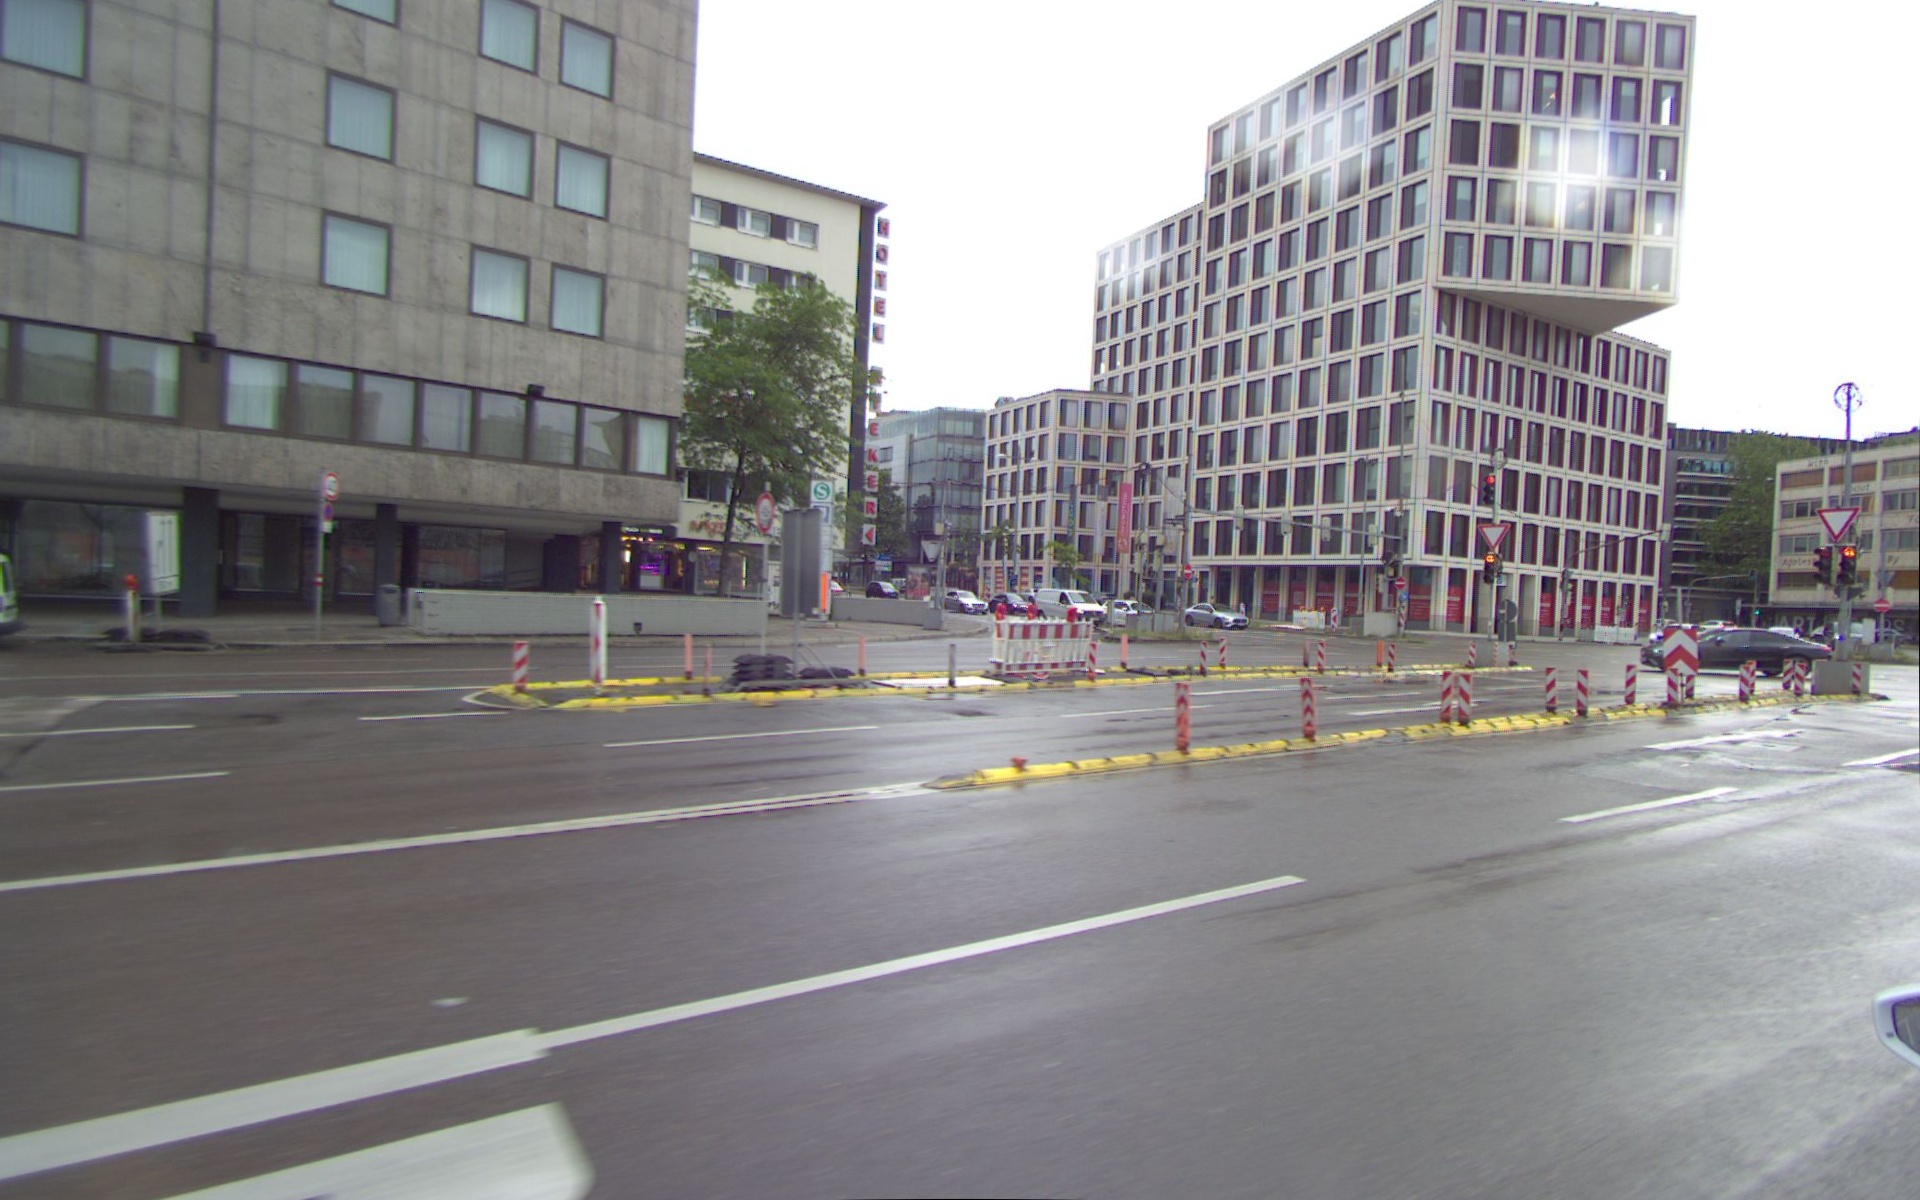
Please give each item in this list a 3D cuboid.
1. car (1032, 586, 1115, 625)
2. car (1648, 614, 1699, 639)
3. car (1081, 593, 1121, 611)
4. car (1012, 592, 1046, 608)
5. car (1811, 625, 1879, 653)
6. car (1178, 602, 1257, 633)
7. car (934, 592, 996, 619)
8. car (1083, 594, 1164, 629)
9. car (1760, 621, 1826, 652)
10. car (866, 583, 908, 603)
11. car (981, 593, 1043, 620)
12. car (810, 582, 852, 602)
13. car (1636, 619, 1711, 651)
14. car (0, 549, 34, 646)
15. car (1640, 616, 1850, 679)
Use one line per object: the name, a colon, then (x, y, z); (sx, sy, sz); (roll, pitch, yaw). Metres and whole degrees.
car: (6.020, 0.270, 53.982); (2.060, 1.930, 5.052); (2, 1, -25)
car: (59.110, 2.193, 83.282); (1.769, 1.840, 4.002); (2, 1, 7)
car: (13.083, 0.204, 93.597); (1.841, 1.543, 3.977); (2, 0, -23)
car: (7.114, -0.033, 104.216); (1.842, 1.543, 3.975); (2, 0, -25)
car: (75.084, 3.289, 85.285); (1.962, 2.040, 3.997); (3, 2, -4)
car: (14.771, 0.990, 57.922); (1.990, 1.620, 4.636); (2, 1, -23)
car: (0.252, 0.345, 65.960); (1.995, 1.620, 4.625); (2, 1, -30)
car: (8.983, 0.588, 55.434); (1.993, 1.761, 4.629); (2, 1, -28)
car: (52.585, 2.305, 63.400); (3.949, 1.840, 1.793); (1, 1, -28)
car: (-6.509, -0.644, 89.050); (1.993, 1.620, 4.629); (2, 1, -28)
car: (3.444, 0.433, 67.841); (1.995, 1.620, 4.625); (2, 1, -30)
car: (-11.405, -0.709, 88.701); (1.995, 1.620, 4.625); (2, 1, -30)
car: (44.035, 2.167, 61.994); (4.762, 1.776, 2.209); (2, 0, -34)
car: (-19.785, -0.108, 18.098); (4.330, 1.786, 1.761); (2, 1, -36)
car: (23.437, 1.391, 30.150); (4.569, 1.620, 2.019); (2, 1, 4)
